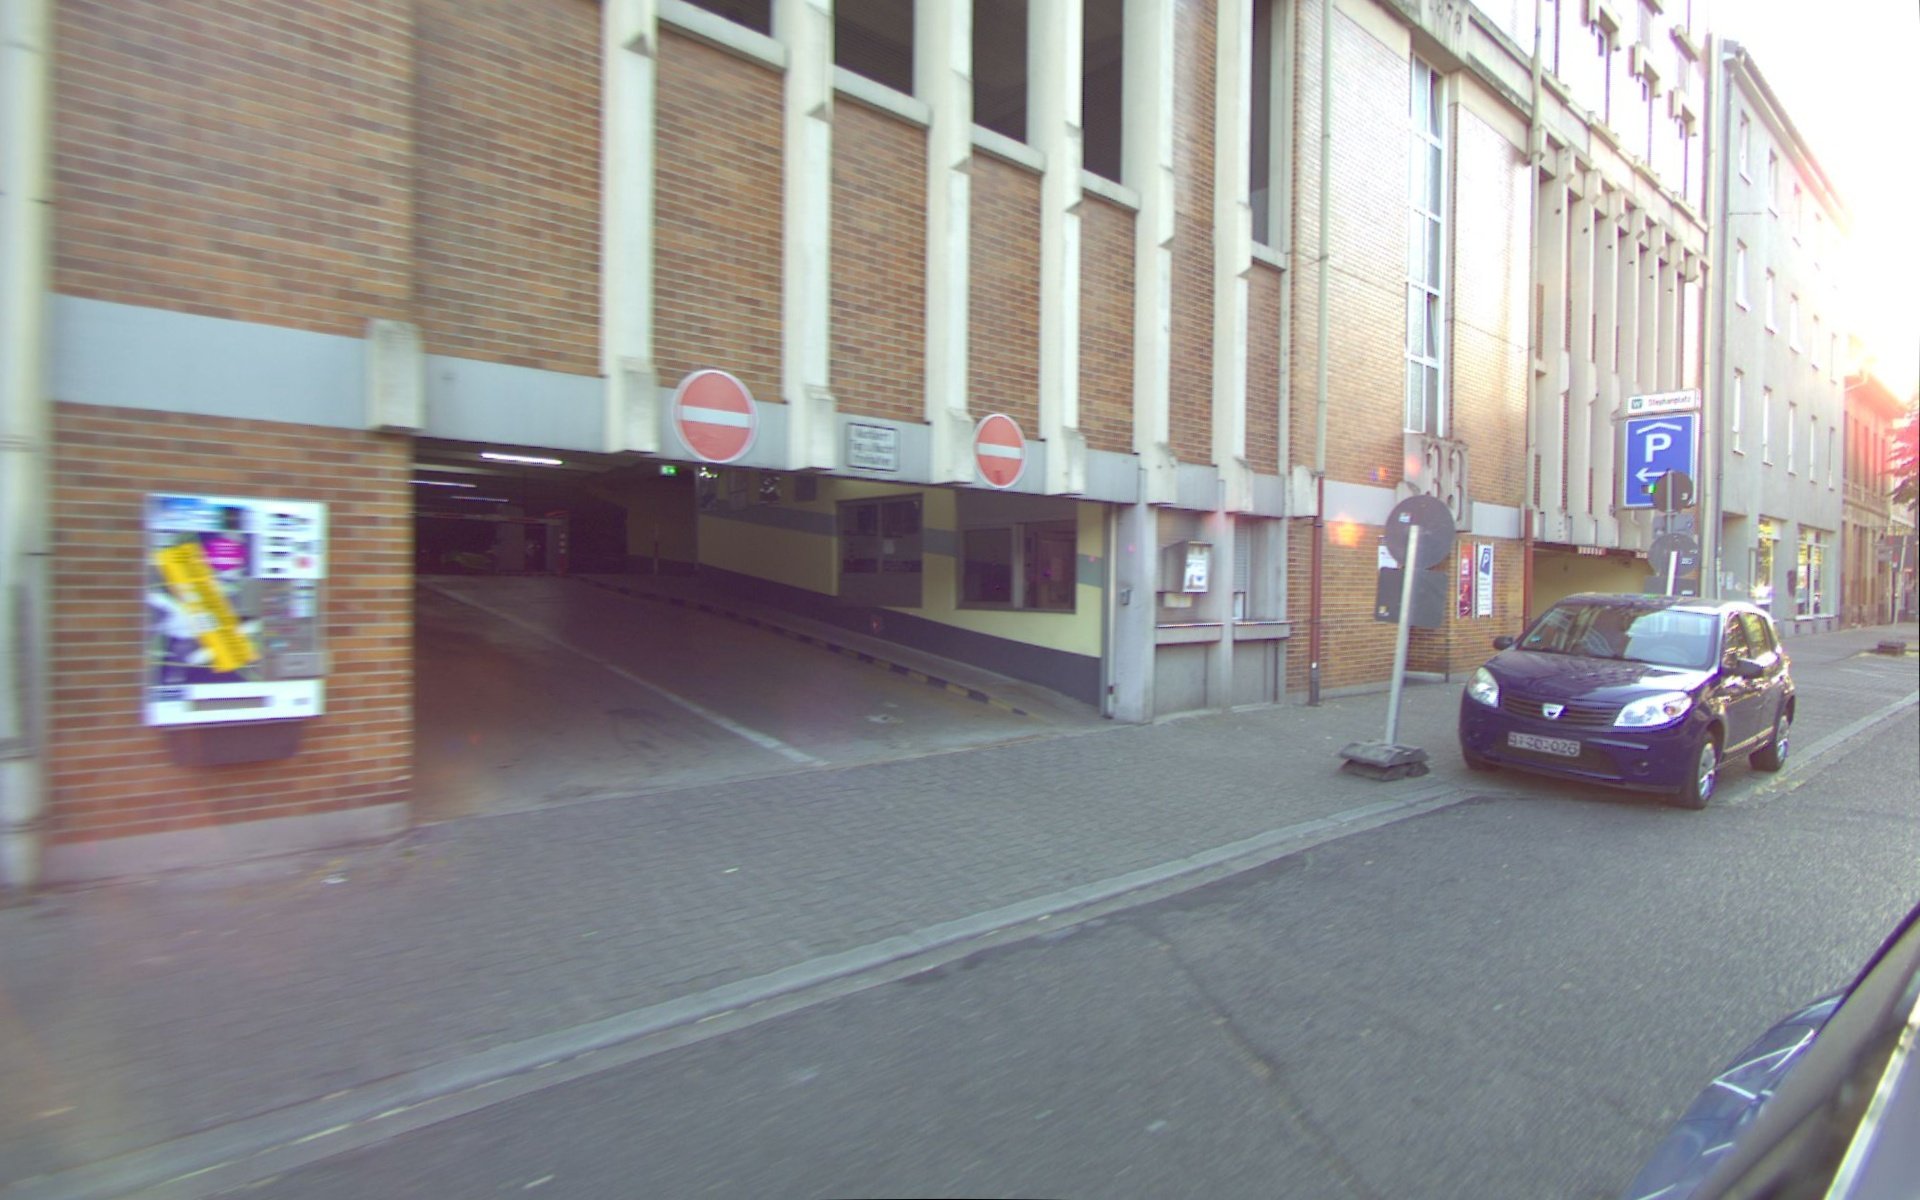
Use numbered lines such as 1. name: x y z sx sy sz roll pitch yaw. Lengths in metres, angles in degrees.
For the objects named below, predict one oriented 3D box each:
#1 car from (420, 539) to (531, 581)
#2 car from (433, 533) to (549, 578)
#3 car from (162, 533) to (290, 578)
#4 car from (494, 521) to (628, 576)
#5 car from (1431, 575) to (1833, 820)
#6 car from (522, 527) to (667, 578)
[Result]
1. car: -19.383 -1.572 40.631 3.917 1.621 1.830 0 1 -24
2. car: -17.868 -1.654 38.701 3.917 1.621 1.830 0 1 -24
3. car: -27.579 -1.663 38.056 3.941 1.621 1.819 1 1 14
4. car: -12.770 -1.616 32.409 3.917 1.621 1.830 0 1 -24
5. car: 5.864 0.621 8.669 3.929 1.555 1.763 0 4 -40
6. car: -10.872 -1.371 30.066 3.917 1.415 1.830 0 1 -24
